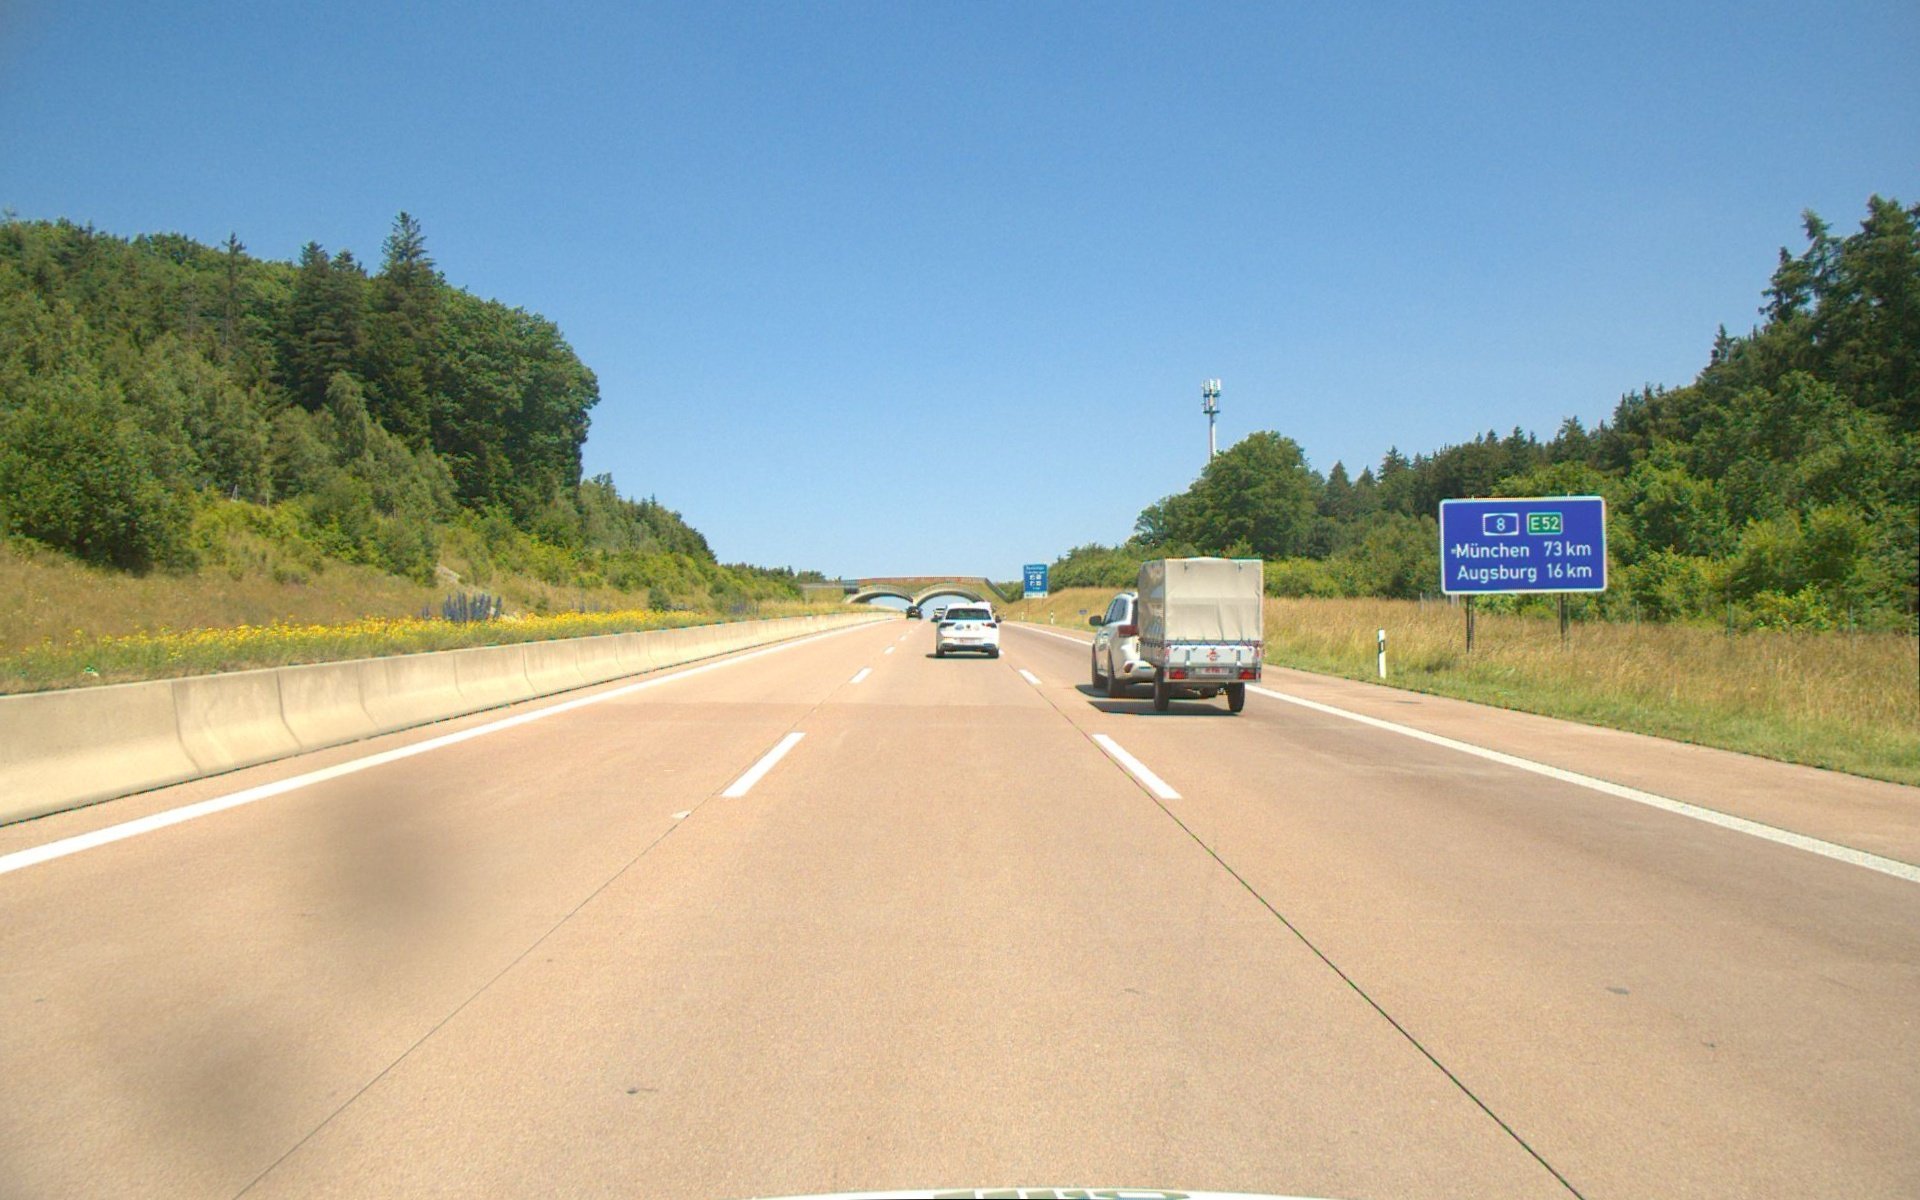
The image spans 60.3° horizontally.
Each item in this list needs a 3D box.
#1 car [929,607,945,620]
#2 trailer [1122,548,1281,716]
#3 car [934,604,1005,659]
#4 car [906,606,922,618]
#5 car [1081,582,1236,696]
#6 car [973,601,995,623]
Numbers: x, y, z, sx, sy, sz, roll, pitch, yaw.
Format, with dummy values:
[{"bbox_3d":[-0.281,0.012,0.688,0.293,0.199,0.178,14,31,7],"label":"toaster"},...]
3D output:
[{"bbox_3d":[-2.694,1.572,193.085,1.852,1.489,4.000,1,0,0],"label":"car"},{"bbox_3d":[3.382,0.427,23.780,1.624,2.202,4.015,0,0,-1],"label":"trailer"},{"bbox_3d":[0.228,0.830,45.955,1.852,1.422,3.999,1,0,-1],"label":"car"},{"bbox_3d":[-5.858,1.540,209.923,1.851,1.489,4.001,0,0,1],"label":"car"},{"bbox_3d":[3.271,0.617,28.266,1.853,1.758,5.184,0,0,-2],"label":"car"},{"bbox_3d":[2.290,1.118,158.991,2.067,2.090,4.001,0,0,1],"label":"car"}]
